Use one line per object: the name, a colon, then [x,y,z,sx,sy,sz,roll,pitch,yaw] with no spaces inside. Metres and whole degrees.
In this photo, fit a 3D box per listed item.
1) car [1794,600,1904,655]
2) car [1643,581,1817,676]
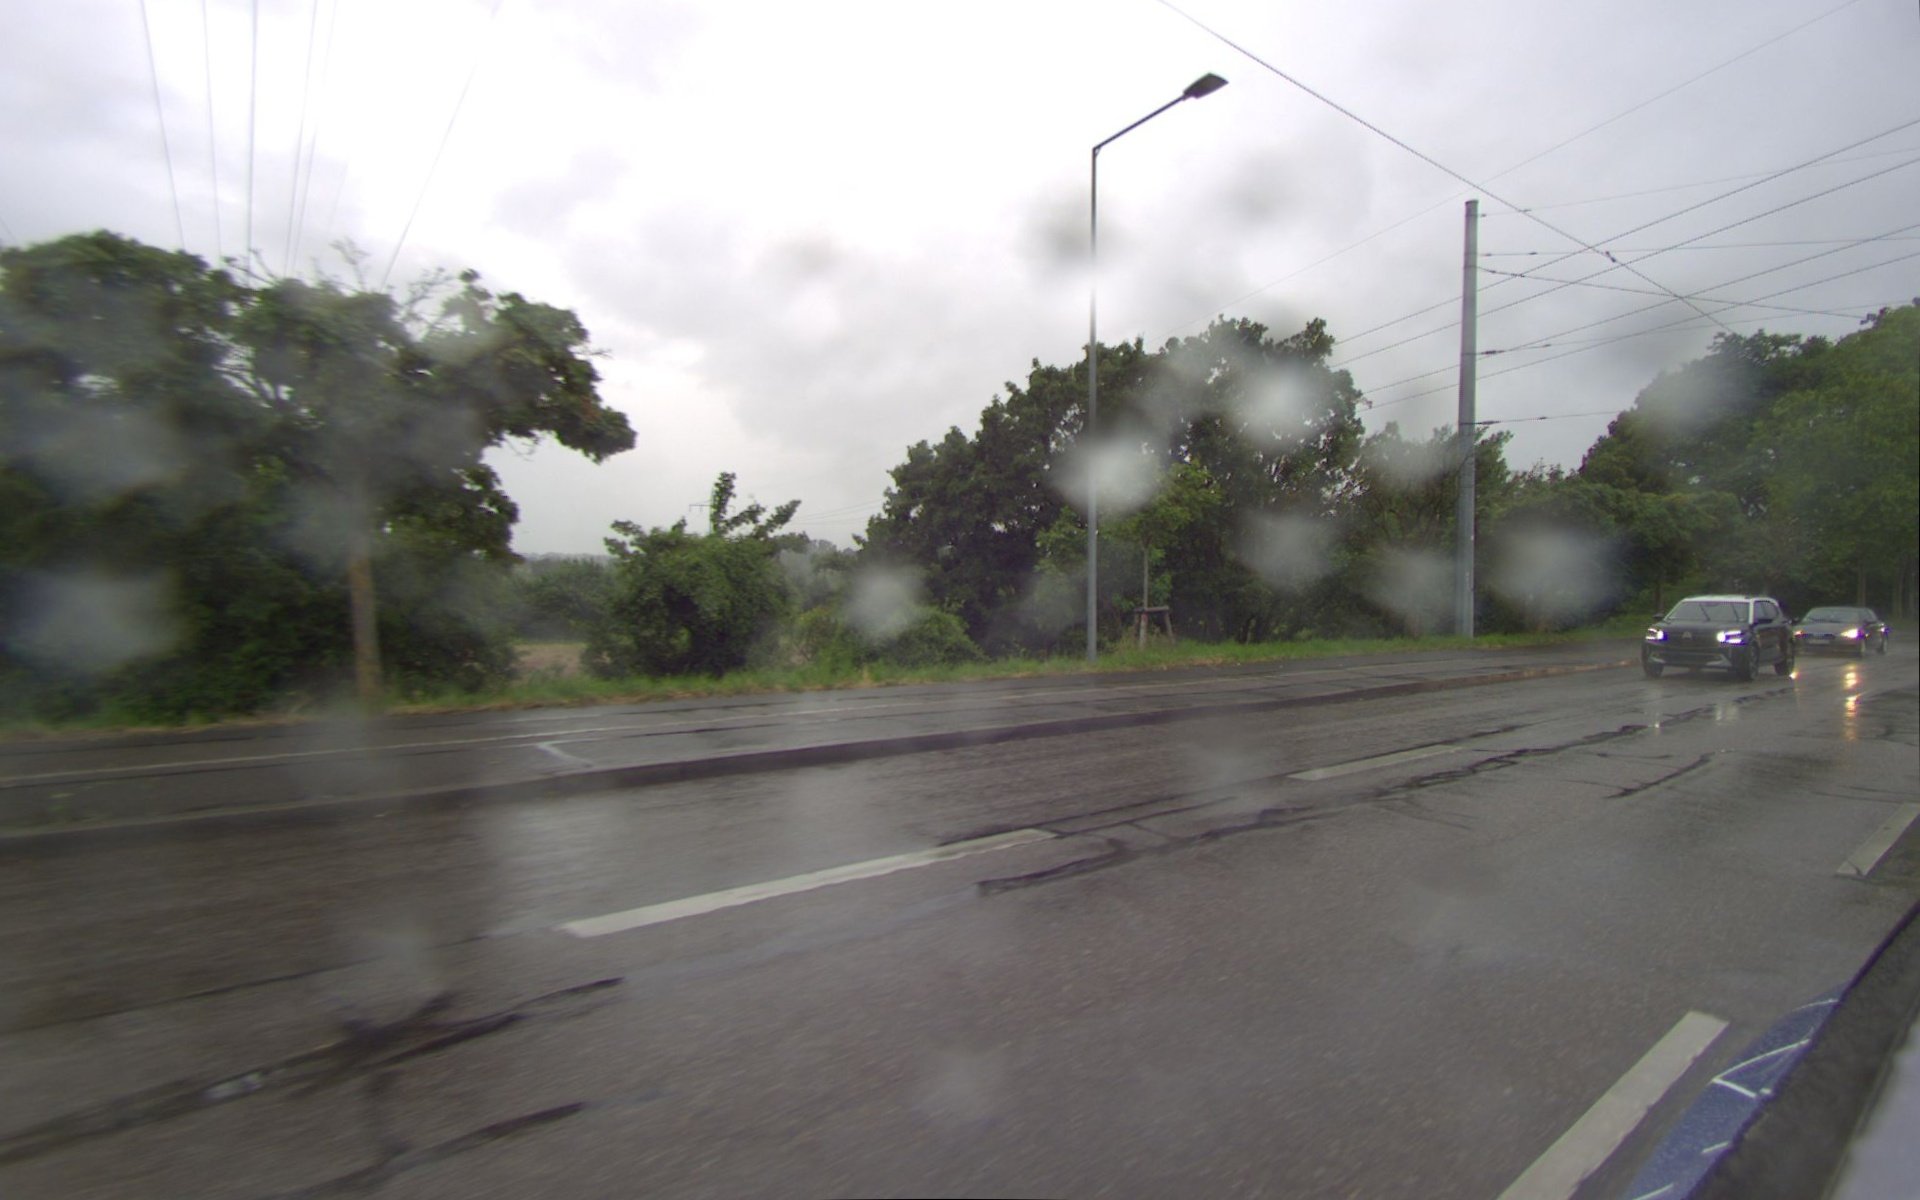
car: [25.708,0.766,29.225,3.928,1.445,1.783,1,0,-39]
car: [15.747,0.554,20.615,4.677,1.724,1.796,1,-1,-39]
